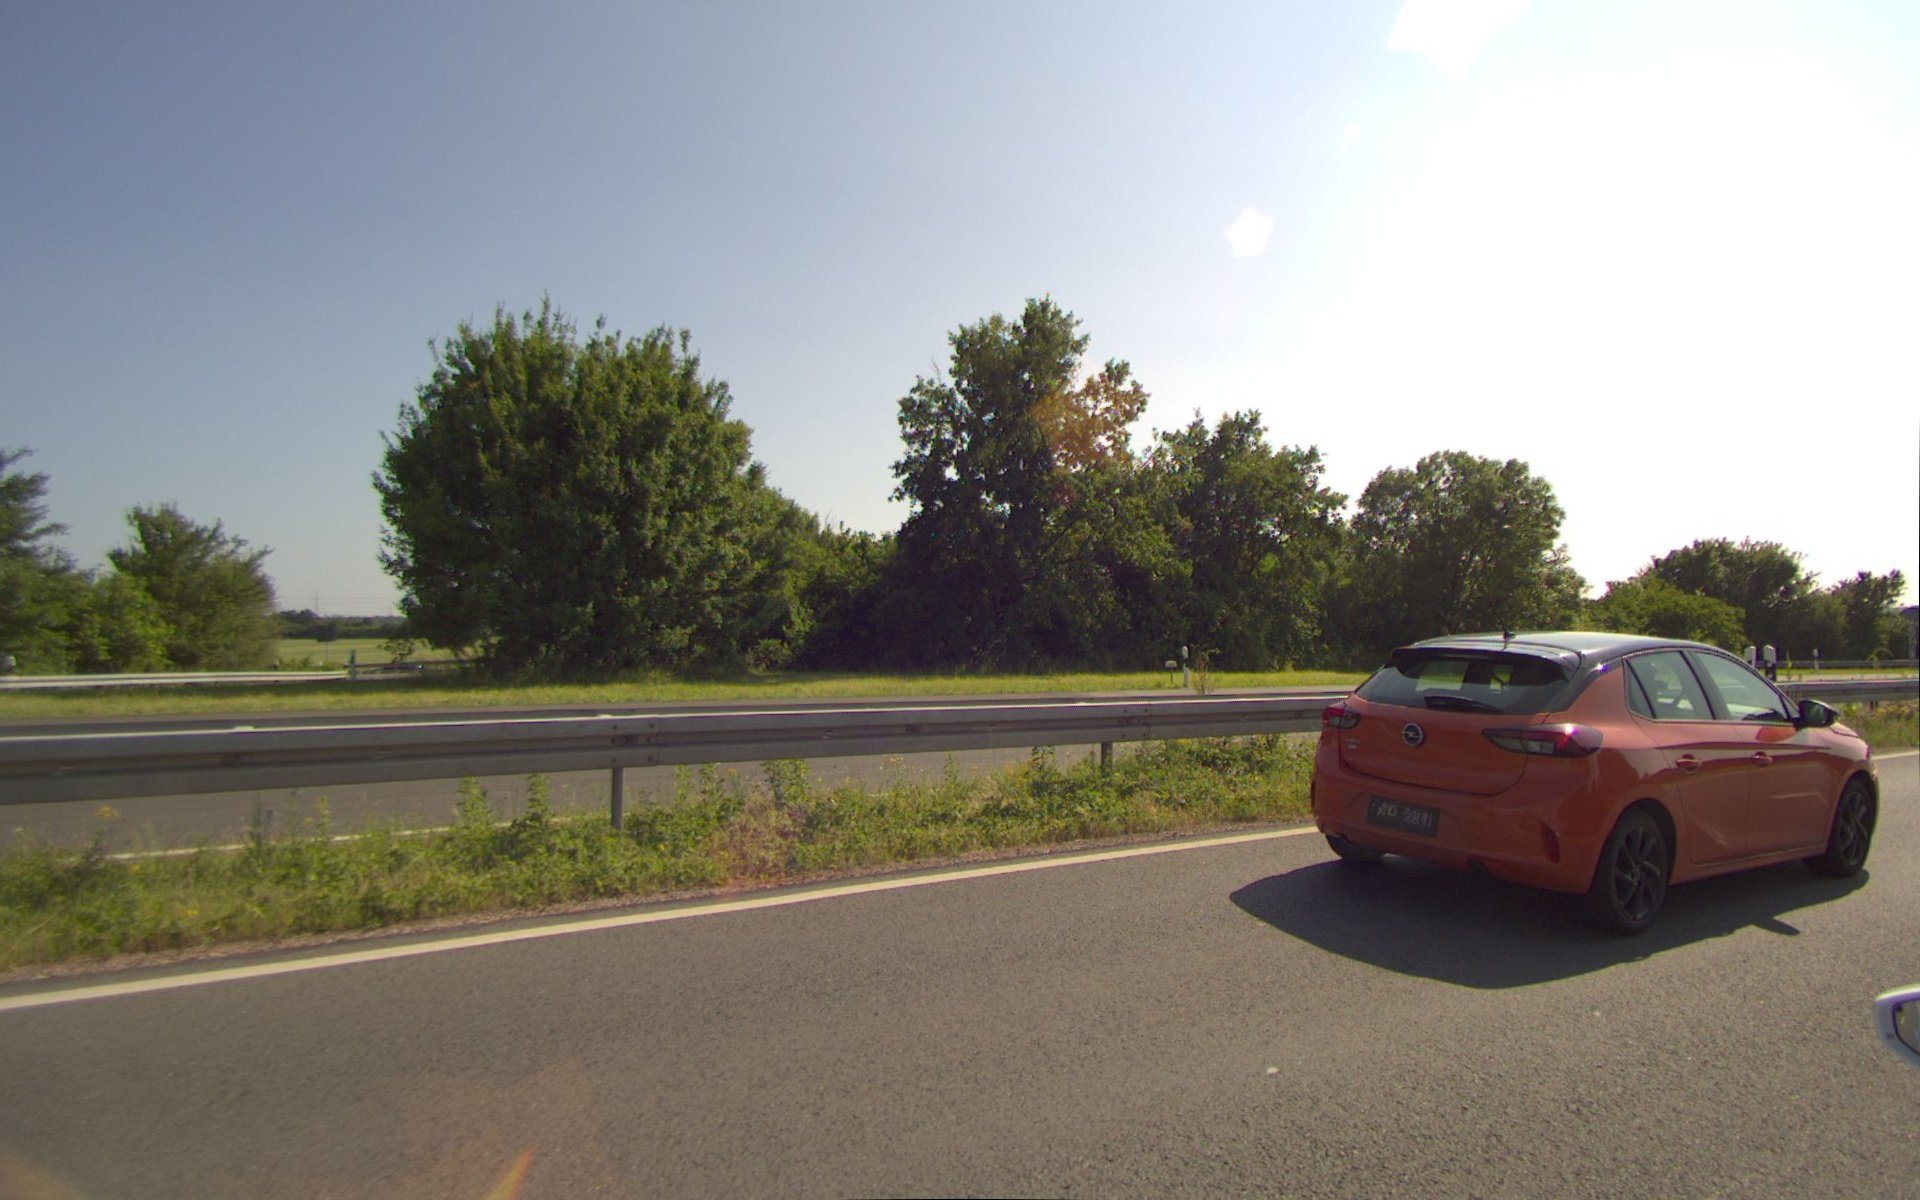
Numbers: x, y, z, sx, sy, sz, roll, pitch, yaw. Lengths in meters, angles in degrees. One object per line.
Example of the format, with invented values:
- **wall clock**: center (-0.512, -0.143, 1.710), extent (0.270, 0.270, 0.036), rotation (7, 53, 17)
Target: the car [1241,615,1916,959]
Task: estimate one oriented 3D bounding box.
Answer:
- **car**: center (3.901, 0.876, 6.124), extent (4.361, 1.456, 1.701), rotation (2, -2, -31)
